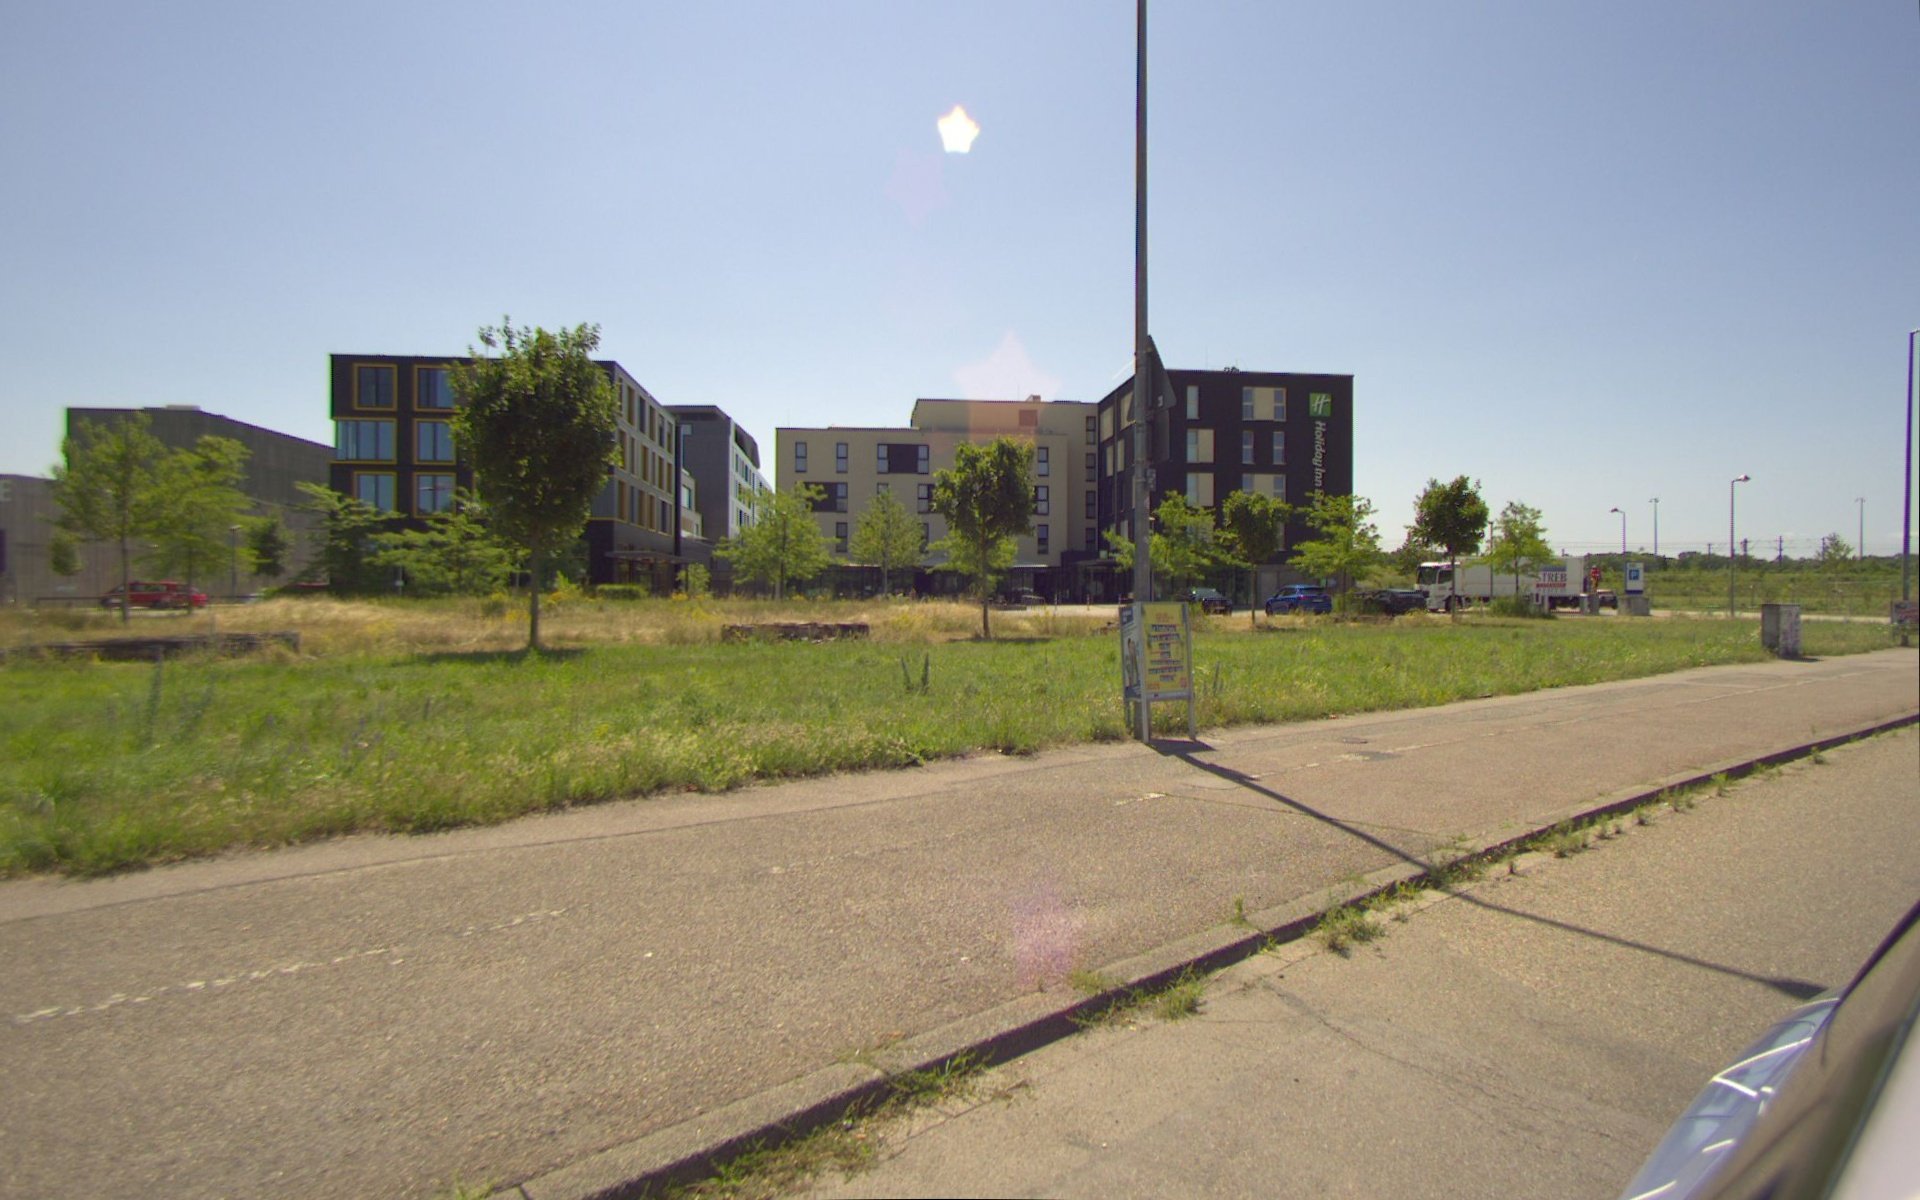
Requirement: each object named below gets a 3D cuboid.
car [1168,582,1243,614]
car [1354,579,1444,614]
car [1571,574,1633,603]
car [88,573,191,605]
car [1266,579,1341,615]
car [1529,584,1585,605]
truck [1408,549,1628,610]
[{"bbox_3d":[11.820,-0.138,48.933,1.921,1.462,4.135,0,1,-12],"label":"car"},{"bbox_3d":[21.281,-0.205,49.265,1.990,1.581,4.515,0,1,-7],"label":"car"},{"bbox_3d":[47.529,-0.859,75.000,1.843,2.039,3.920,0,1,-4],"label":"car"},{"bbox_3d":[-55.256,-0.732,68.224,5.057,2.142,2.239,0,0,-5],"label":"car"},{"bbox_3d":[16.689,-0.179,49.381,1.915,1.672,4.077,0,1,-6],"label":"car"},{"bbox_3d":[47.228,-0.486,80.169,1.714,1.576,4.050,1,1,-5],"label":"car"},{"bbox_3d":[33.978,-1.292,61.815,11.898,3.504,3.022,0,2,-4],"label":"truck"}]
